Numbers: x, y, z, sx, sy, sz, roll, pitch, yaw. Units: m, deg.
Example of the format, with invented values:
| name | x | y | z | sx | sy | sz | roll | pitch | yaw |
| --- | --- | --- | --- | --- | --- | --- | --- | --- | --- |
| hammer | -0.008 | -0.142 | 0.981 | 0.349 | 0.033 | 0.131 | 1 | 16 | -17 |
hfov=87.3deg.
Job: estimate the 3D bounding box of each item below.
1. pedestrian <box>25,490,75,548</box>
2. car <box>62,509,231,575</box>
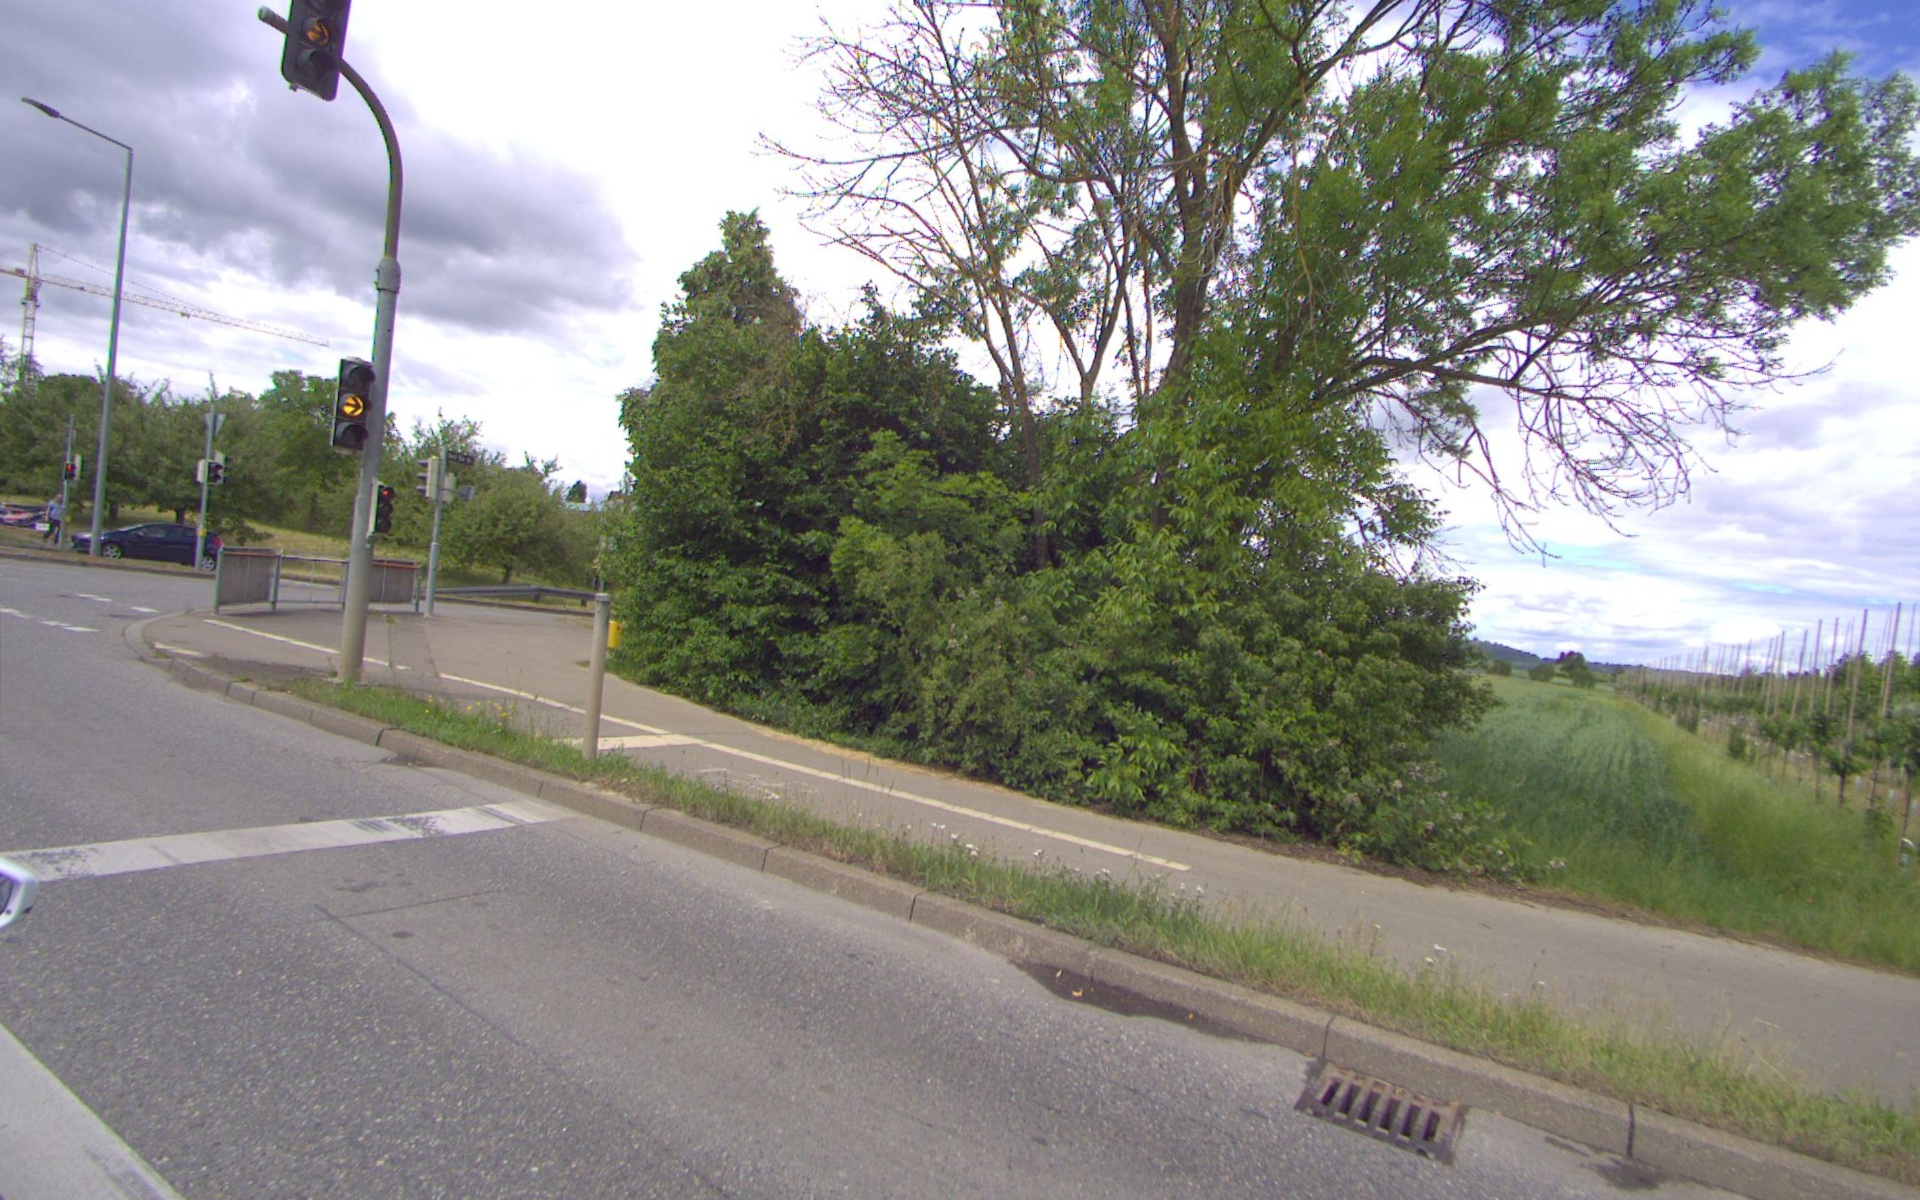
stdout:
| name | x | y | z | sx | sy | sz | roll | pitch | yaw |
| --- | --- | --- | --- | --- | --- | --- | --- | --- | --- |
| pedestrian | -31.394 | -2.778 | 34.720 | 1.024 | 1.813 | 0.721 | 7 | -1 | 19 |
| car | -26.292 | -1.857 | 32.622 | 1.733 | 1.463 | 3.881 | 6 | -2 | 37 |
